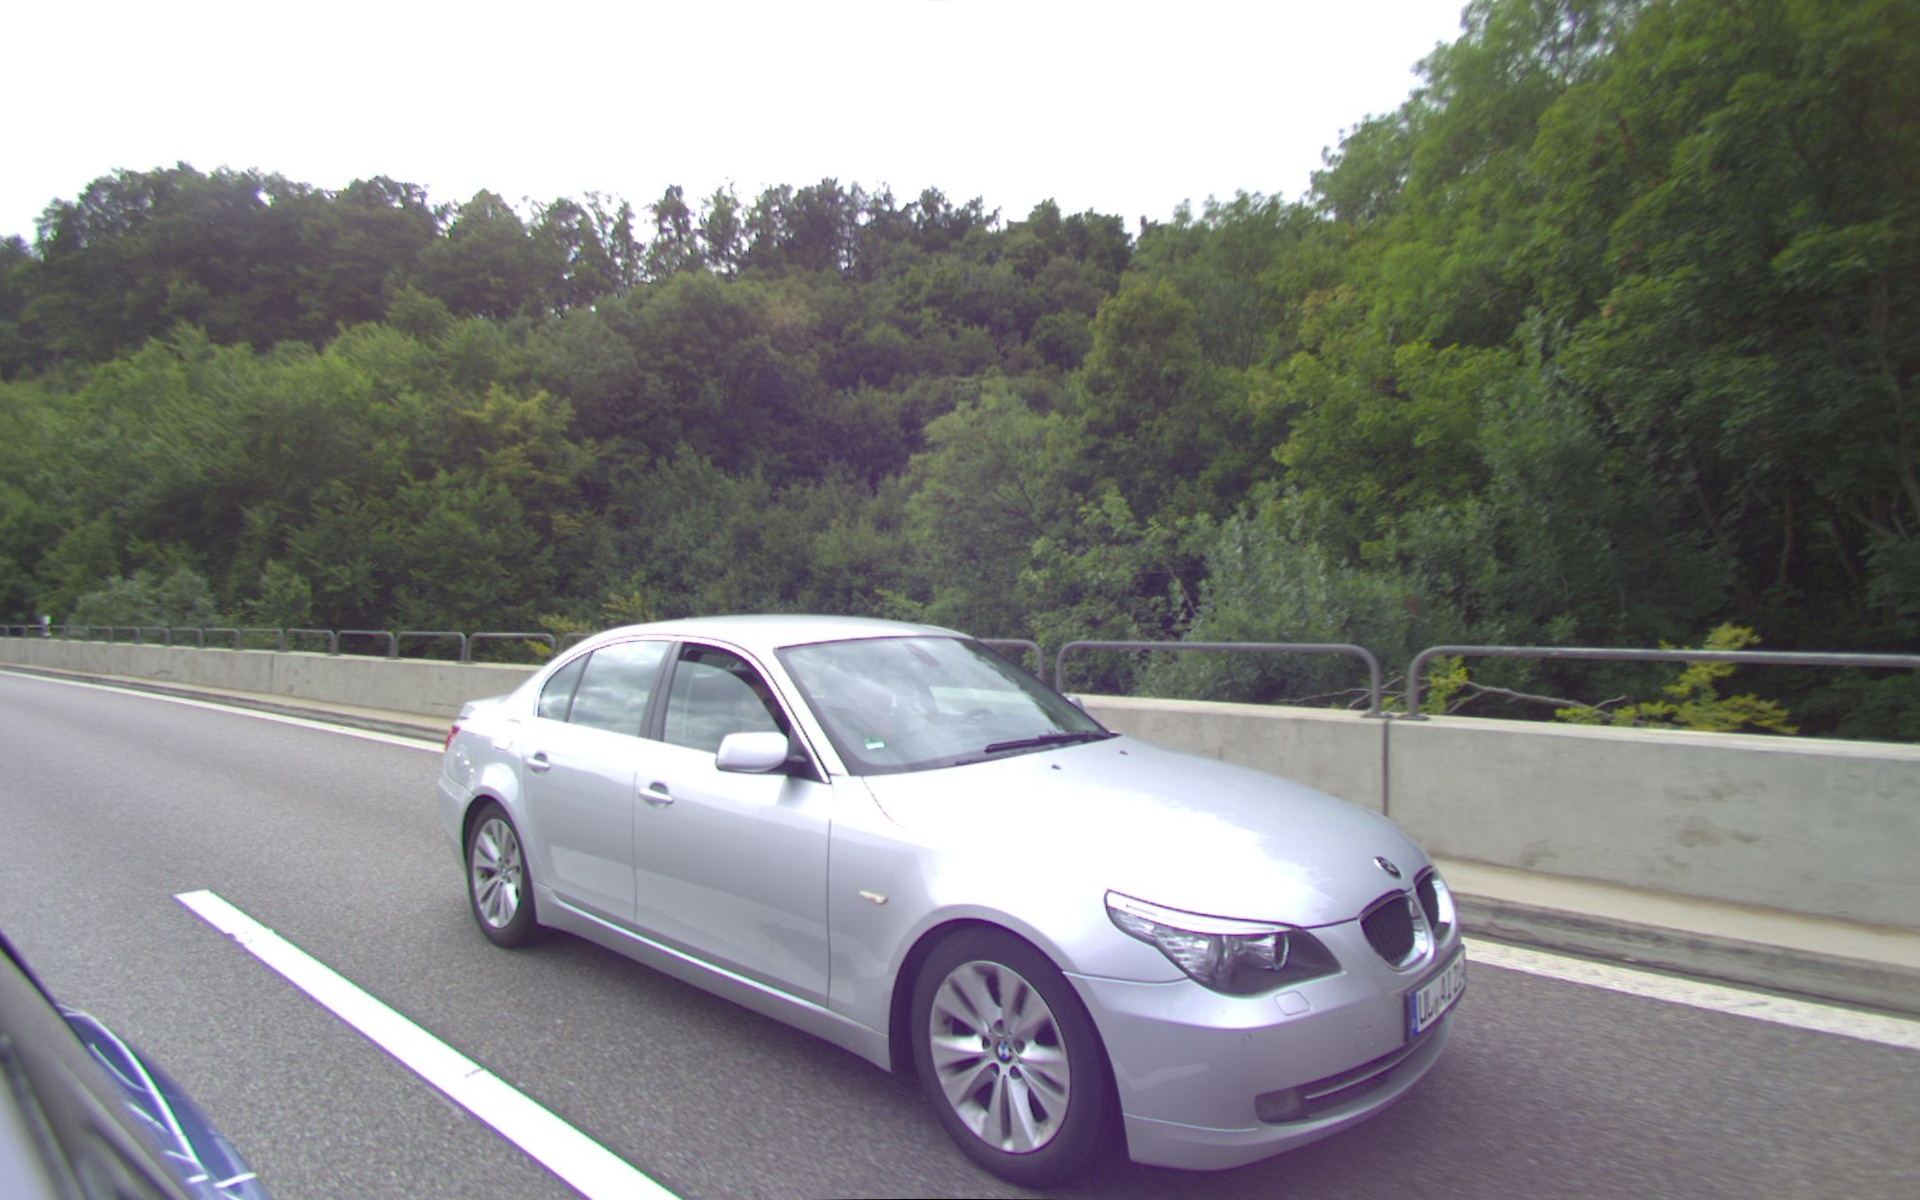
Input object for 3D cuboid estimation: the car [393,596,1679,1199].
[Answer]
[{"bbox_3d":[-0.328,0.764,4.092,5.132,1.468,1.809,-1,-1,41],"label":"car"}]
